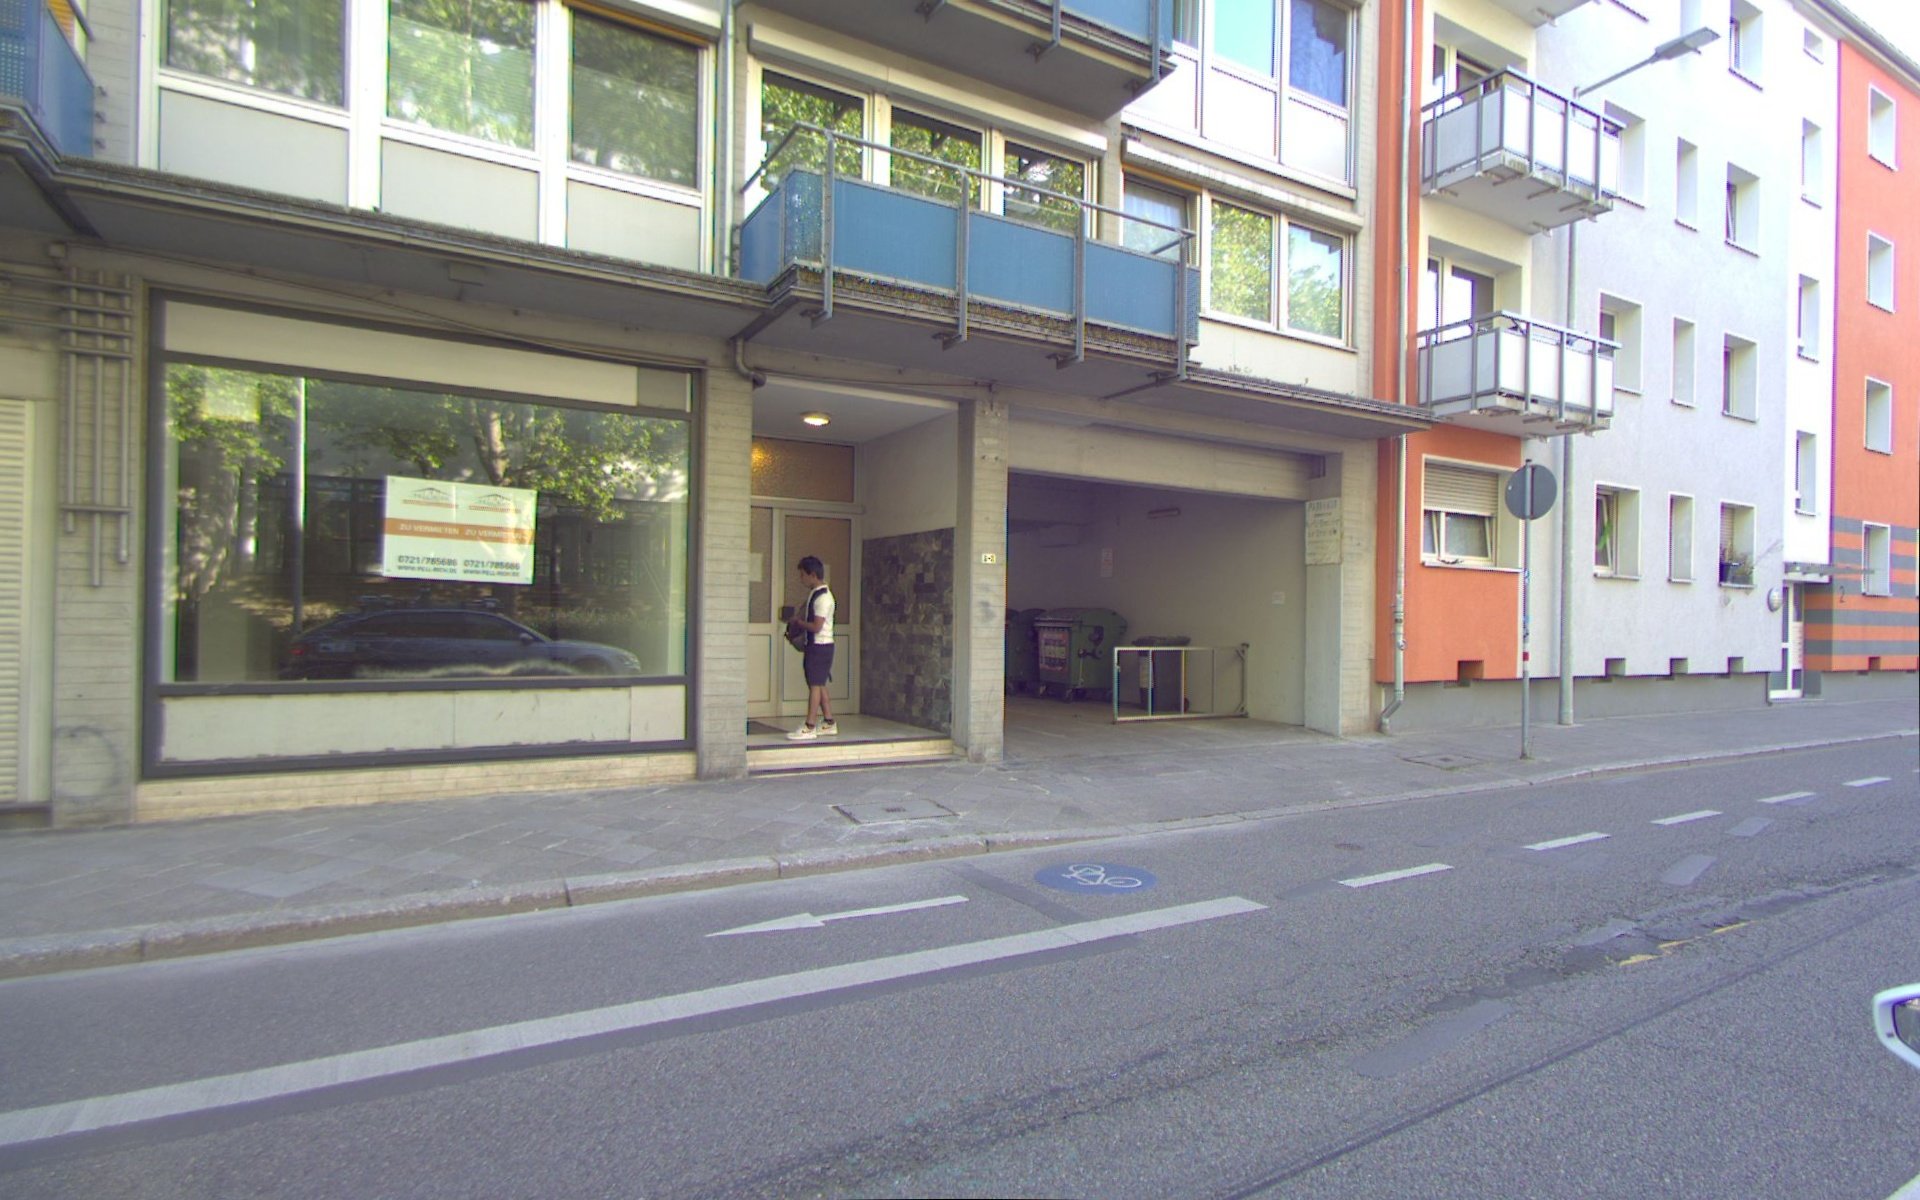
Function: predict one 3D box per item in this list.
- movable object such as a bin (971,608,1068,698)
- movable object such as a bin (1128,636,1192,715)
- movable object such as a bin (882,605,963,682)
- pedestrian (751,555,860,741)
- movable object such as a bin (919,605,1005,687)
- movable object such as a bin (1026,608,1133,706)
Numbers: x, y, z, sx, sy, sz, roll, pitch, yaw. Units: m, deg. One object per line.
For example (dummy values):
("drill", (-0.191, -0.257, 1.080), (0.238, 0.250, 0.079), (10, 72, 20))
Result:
("movable object such as a bin", (1.003, 0.875, 17.156), (1.120, 1.444, 1.268), (2, 0, -28))
("movable object such as a bin", (2.882, 1.076, 14.491), (0.713, 1.094, 0.533), (2, 0, -29))
("movable object such as a bin", (-0.747, 0.838, 19.791), (1.120, 1.444, 1.268), (2, 0, -28))
("pedestrian", (-1.422, 0.433, 9.387), (0.820, 1.639, 0.794), (2, 0, 3))
("movable object such as a bin", (0.025, 0.835, 18.700), (1.120, 1.444, 1.268), (2, 0, -28))
("movable object such as a bin", (1.870, 0.877, 15.815), (1.120, 1.444, 1.268), (2, 0, -28))
